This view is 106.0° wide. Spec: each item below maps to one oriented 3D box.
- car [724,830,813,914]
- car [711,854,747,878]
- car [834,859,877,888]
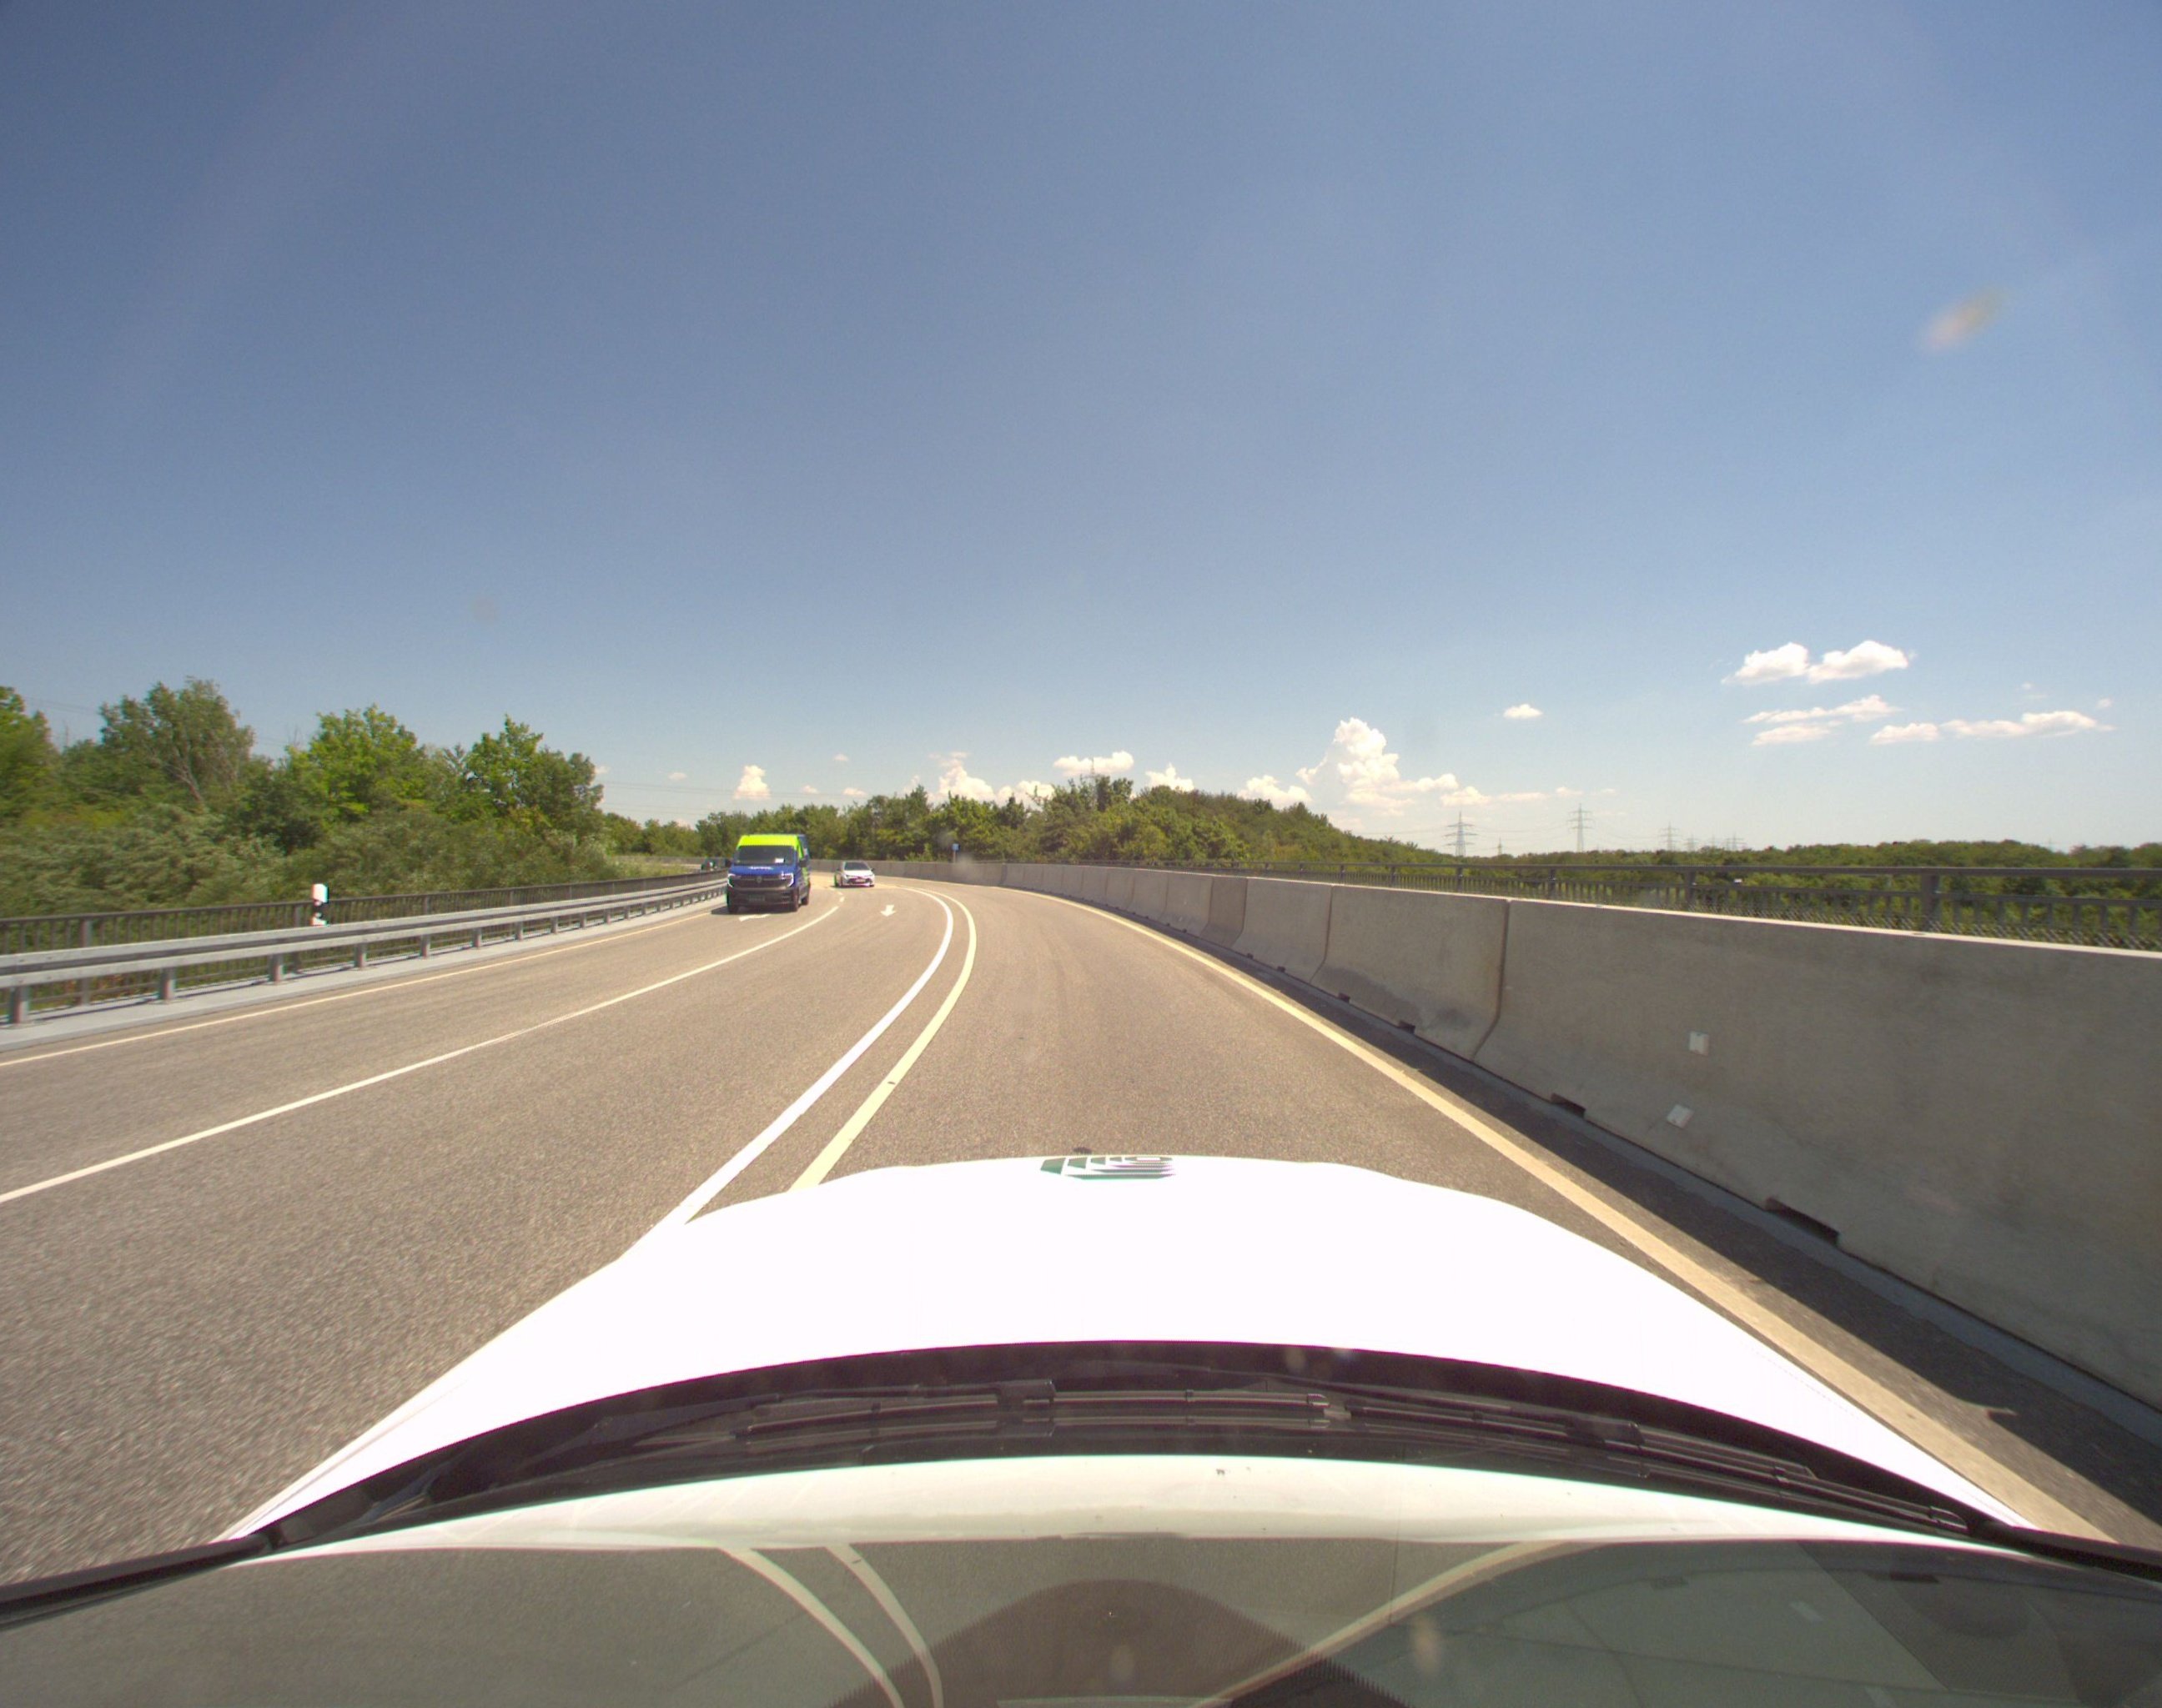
[{"bbox_3d":[-10.118,0.524,26.784,1.996,2.484,5.455,-1,0,-14],"label":"car"},{"bbox_3d":[-29.068,0.966,67.170,1.829,1.595,4.400,-3,4,-35],"label":"car"},{"bbox_3d":[-12.748,1.087,45.925,1.750,1.459,4.333,-2,-1,-23],"label":"car"}]
